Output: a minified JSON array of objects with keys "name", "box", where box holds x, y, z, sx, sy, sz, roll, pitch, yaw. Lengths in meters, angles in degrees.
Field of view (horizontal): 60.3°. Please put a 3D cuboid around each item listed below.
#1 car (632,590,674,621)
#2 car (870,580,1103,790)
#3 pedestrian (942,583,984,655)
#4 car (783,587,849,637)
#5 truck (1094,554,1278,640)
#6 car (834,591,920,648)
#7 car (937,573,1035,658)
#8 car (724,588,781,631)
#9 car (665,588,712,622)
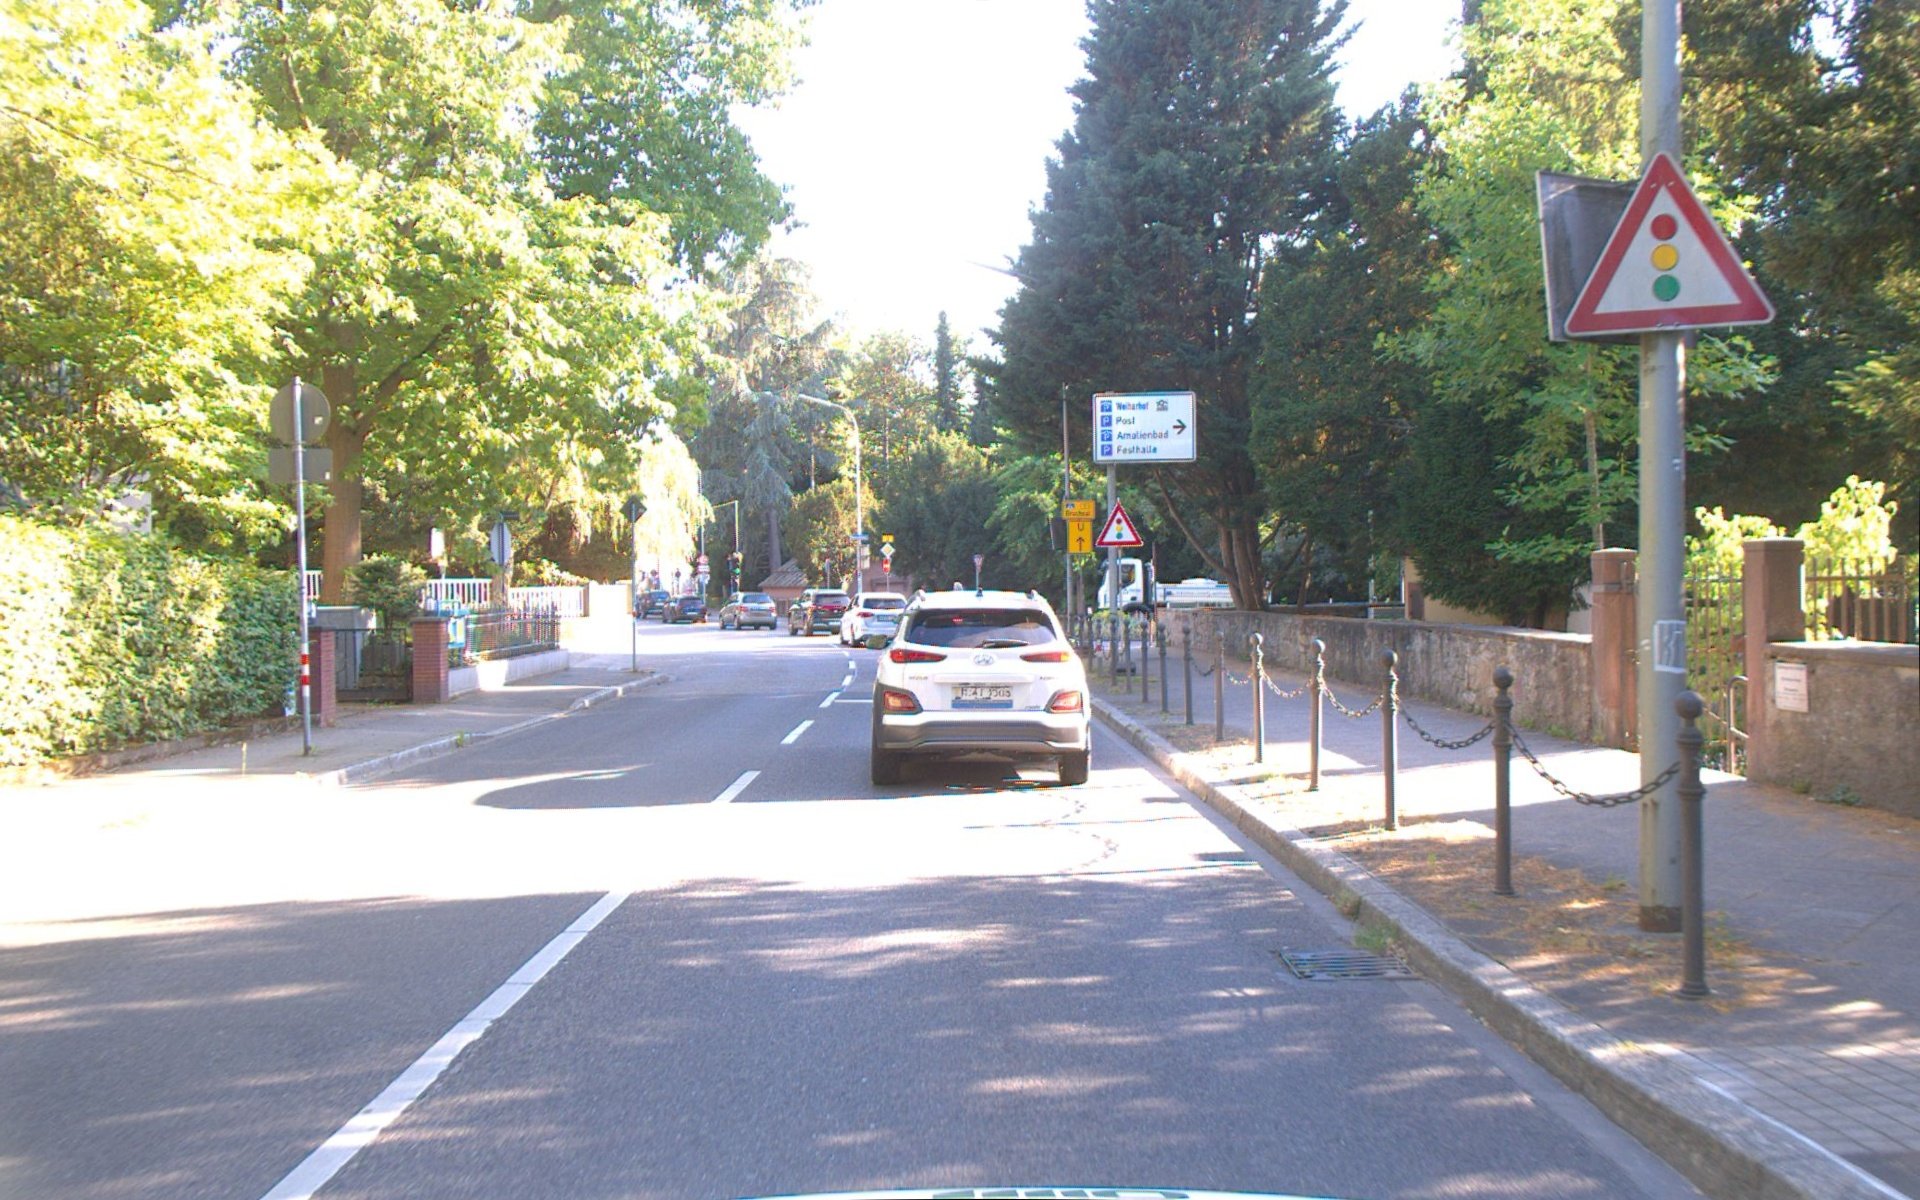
[{"name":"car","box":[-17.903,0.314,96.392,1.804,1.691,3.978,1,0,-19]},{"name":"car","box":[0.165,0.656,14.831,1.783,1.601,3.999,1,0,-1]},{"name":"pedestrian","box":[0.081,0.490,43.618,0.934,1.858,0.547,1,2,-40]},{"name":"car","box":[-5.075,0.394,57.993,1.799,1.691,3.988,1,0,-12]},{"name":"truck","box":[8.133,-0.104,60.030,6.449,2.945,2.434,1,0,4]},{"name":"car","box":[-2.436,0.535,47.630,1.774,1.564,3.986,1,0,-13]},{"name":"car","box":[0.430,0.270,31.213,1.673,1.459,4.364,1,0,-1]},{"name":"car","box":[-8.919,0.379,70.919,1.802,1.771,3.982,1,0,-16]},{"name":"car","box":[-13.978,0.230,84.945,1.803,1.691,3.980,1,0,-18]}]
